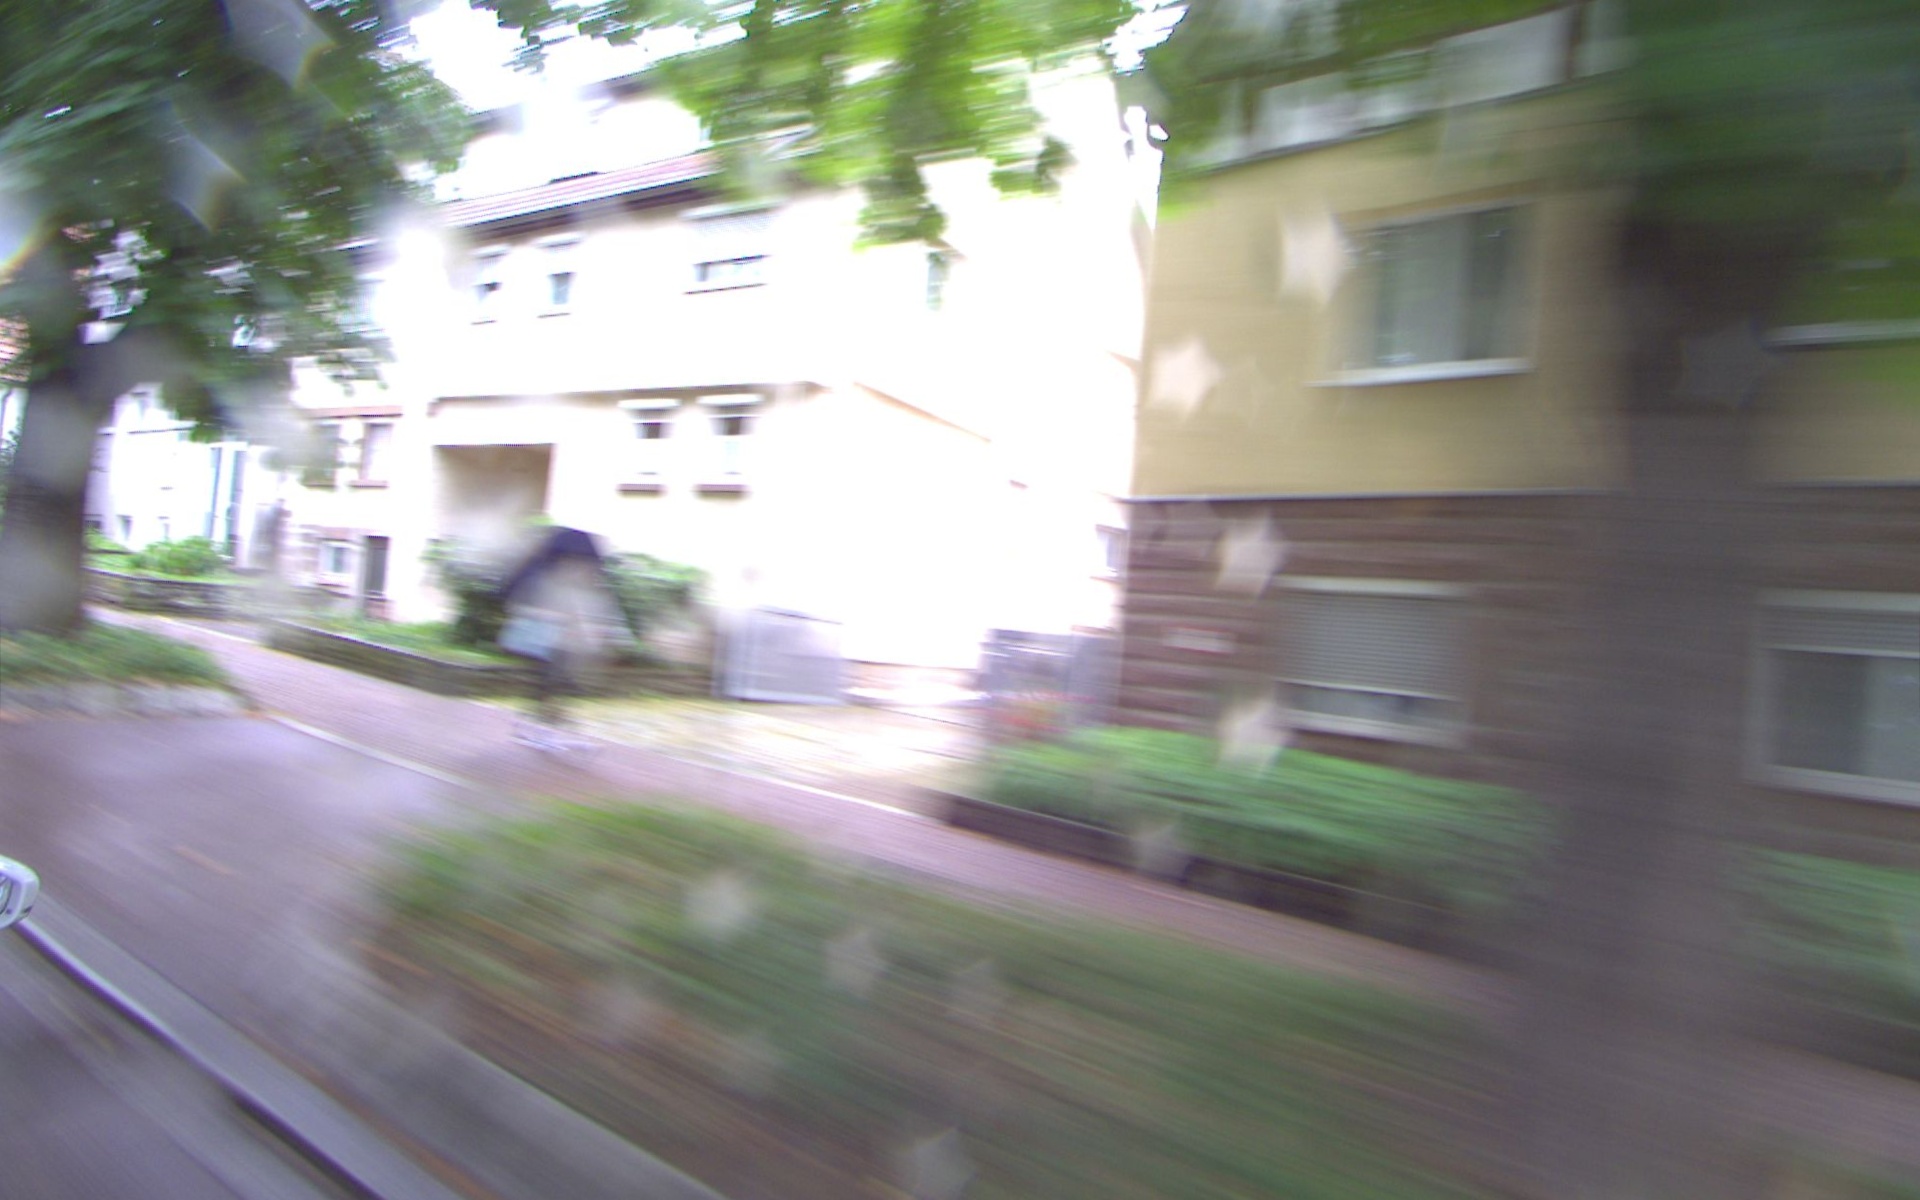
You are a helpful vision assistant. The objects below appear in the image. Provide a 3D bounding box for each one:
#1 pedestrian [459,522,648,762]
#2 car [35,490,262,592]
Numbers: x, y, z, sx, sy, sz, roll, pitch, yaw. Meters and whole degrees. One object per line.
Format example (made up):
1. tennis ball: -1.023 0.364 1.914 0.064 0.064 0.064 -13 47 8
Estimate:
1. pedestrian: -3.084 0.315 7.640 0.784 1.672 0.952 7 0 45
2. car: -23.160 -1.635 28.929 1.966 1.918 4.479 6 -6 30
